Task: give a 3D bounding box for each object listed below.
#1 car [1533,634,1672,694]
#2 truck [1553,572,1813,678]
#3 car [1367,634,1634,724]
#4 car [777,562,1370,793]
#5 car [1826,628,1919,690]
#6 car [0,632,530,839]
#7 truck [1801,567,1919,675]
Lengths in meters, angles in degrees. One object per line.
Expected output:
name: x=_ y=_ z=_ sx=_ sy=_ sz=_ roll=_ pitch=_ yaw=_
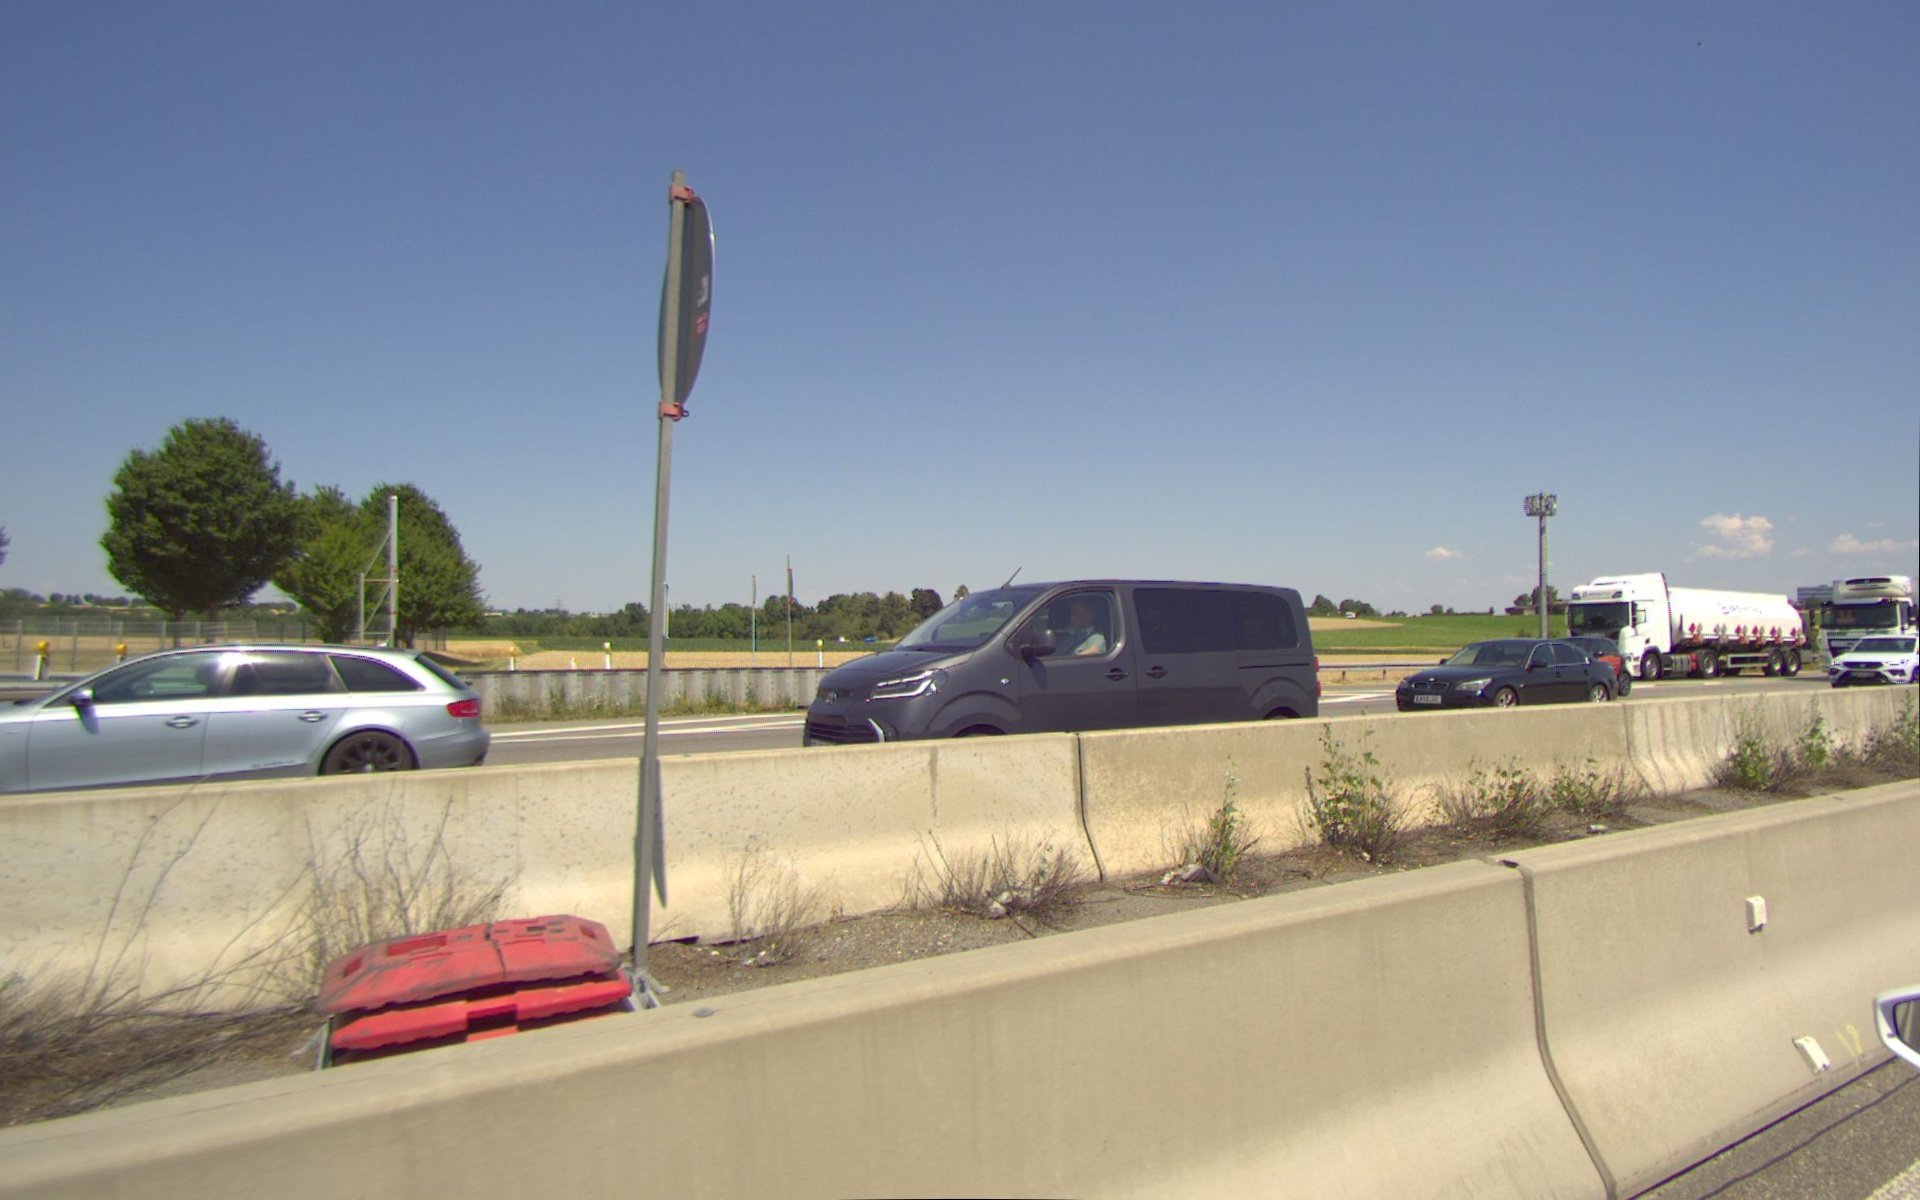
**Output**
car: x=17.515 y=1.695 z=27.341 sx=3.891 sy=1.535 sz=1.556 roll=1 pitch=-3 yaw=-30
truck: x=29.429 y=1.073 z=40.590 sx=13.119 sy=3.826 sz=2.889 roll=1 pitch=-3 yaw=-28
car: x=9.902 y=1.340 z=18.301 sx=5.026 sy=1.404 sz=2.004 roll=1 pitch=-2 yaw=-31
car: x=1.181 y=0.586 z=9.047 sx=5.281 sy=1.590 sz=1.835 roll=1 pitch=-1 yaw=-30
car: x=26.334 y=1.619 z=28.379 sx=3.995 sy=1.644 sz=1.552 roll=1 pitch=-1 yaw=-29
car: x=-6.462 y=1.044 z=8.696 sx=4.863 sy=1.502 sz=1.838 roll=1 pitch=-3 yaw=-30
truck: x=36.971 y=0.906 z=38.539 sx=13.130 sy=3.656 sz=2.783 roll=1 pitch=-3 yaw=-30
